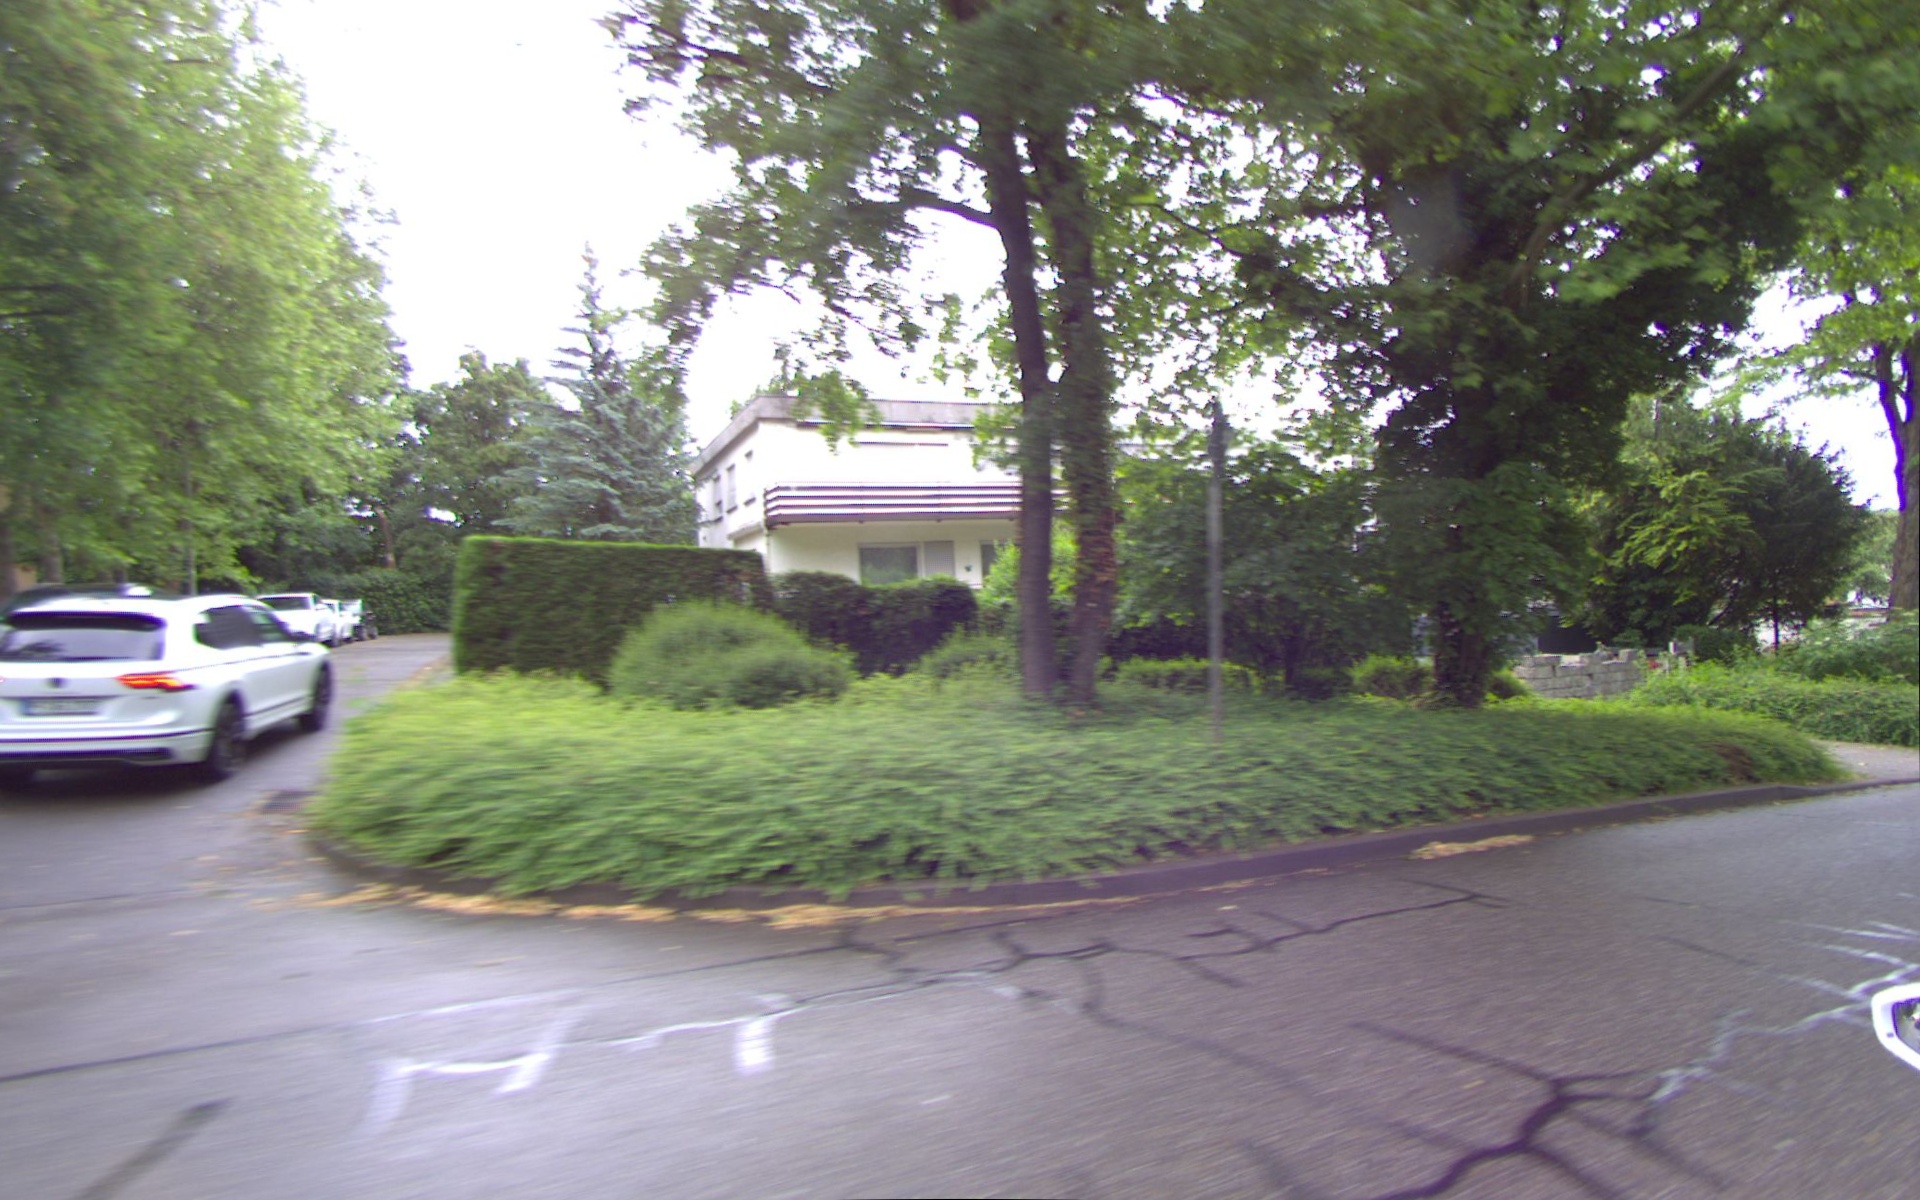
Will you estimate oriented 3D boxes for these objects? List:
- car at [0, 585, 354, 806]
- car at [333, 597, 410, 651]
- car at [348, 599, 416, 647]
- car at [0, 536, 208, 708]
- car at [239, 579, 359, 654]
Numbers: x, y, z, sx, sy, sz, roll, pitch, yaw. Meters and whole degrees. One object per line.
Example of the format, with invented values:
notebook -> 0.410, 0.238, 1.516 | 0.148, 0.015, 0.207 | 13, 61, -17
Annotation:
car -> -7.814, 0.752, 10.131 | 1.881, 1.708, 4.185 | 1, 1, -17
car -> -18.705, 0.737, 32.062 | 1.530, 1.469, 3.977 | -5, 1, -24
car -> -20.553, 0.777, 35.853 | 1.577, 1.514, 3.977 | -4, 1, -24
car -> -12.261, 0.272, 13.804 | 1.970, 2.040, 3.981 | -1, 0, -20
car -> -17.461, 0.448, 26.743 | 1.972, 1.832, 3.977 | 1, -1, -24
